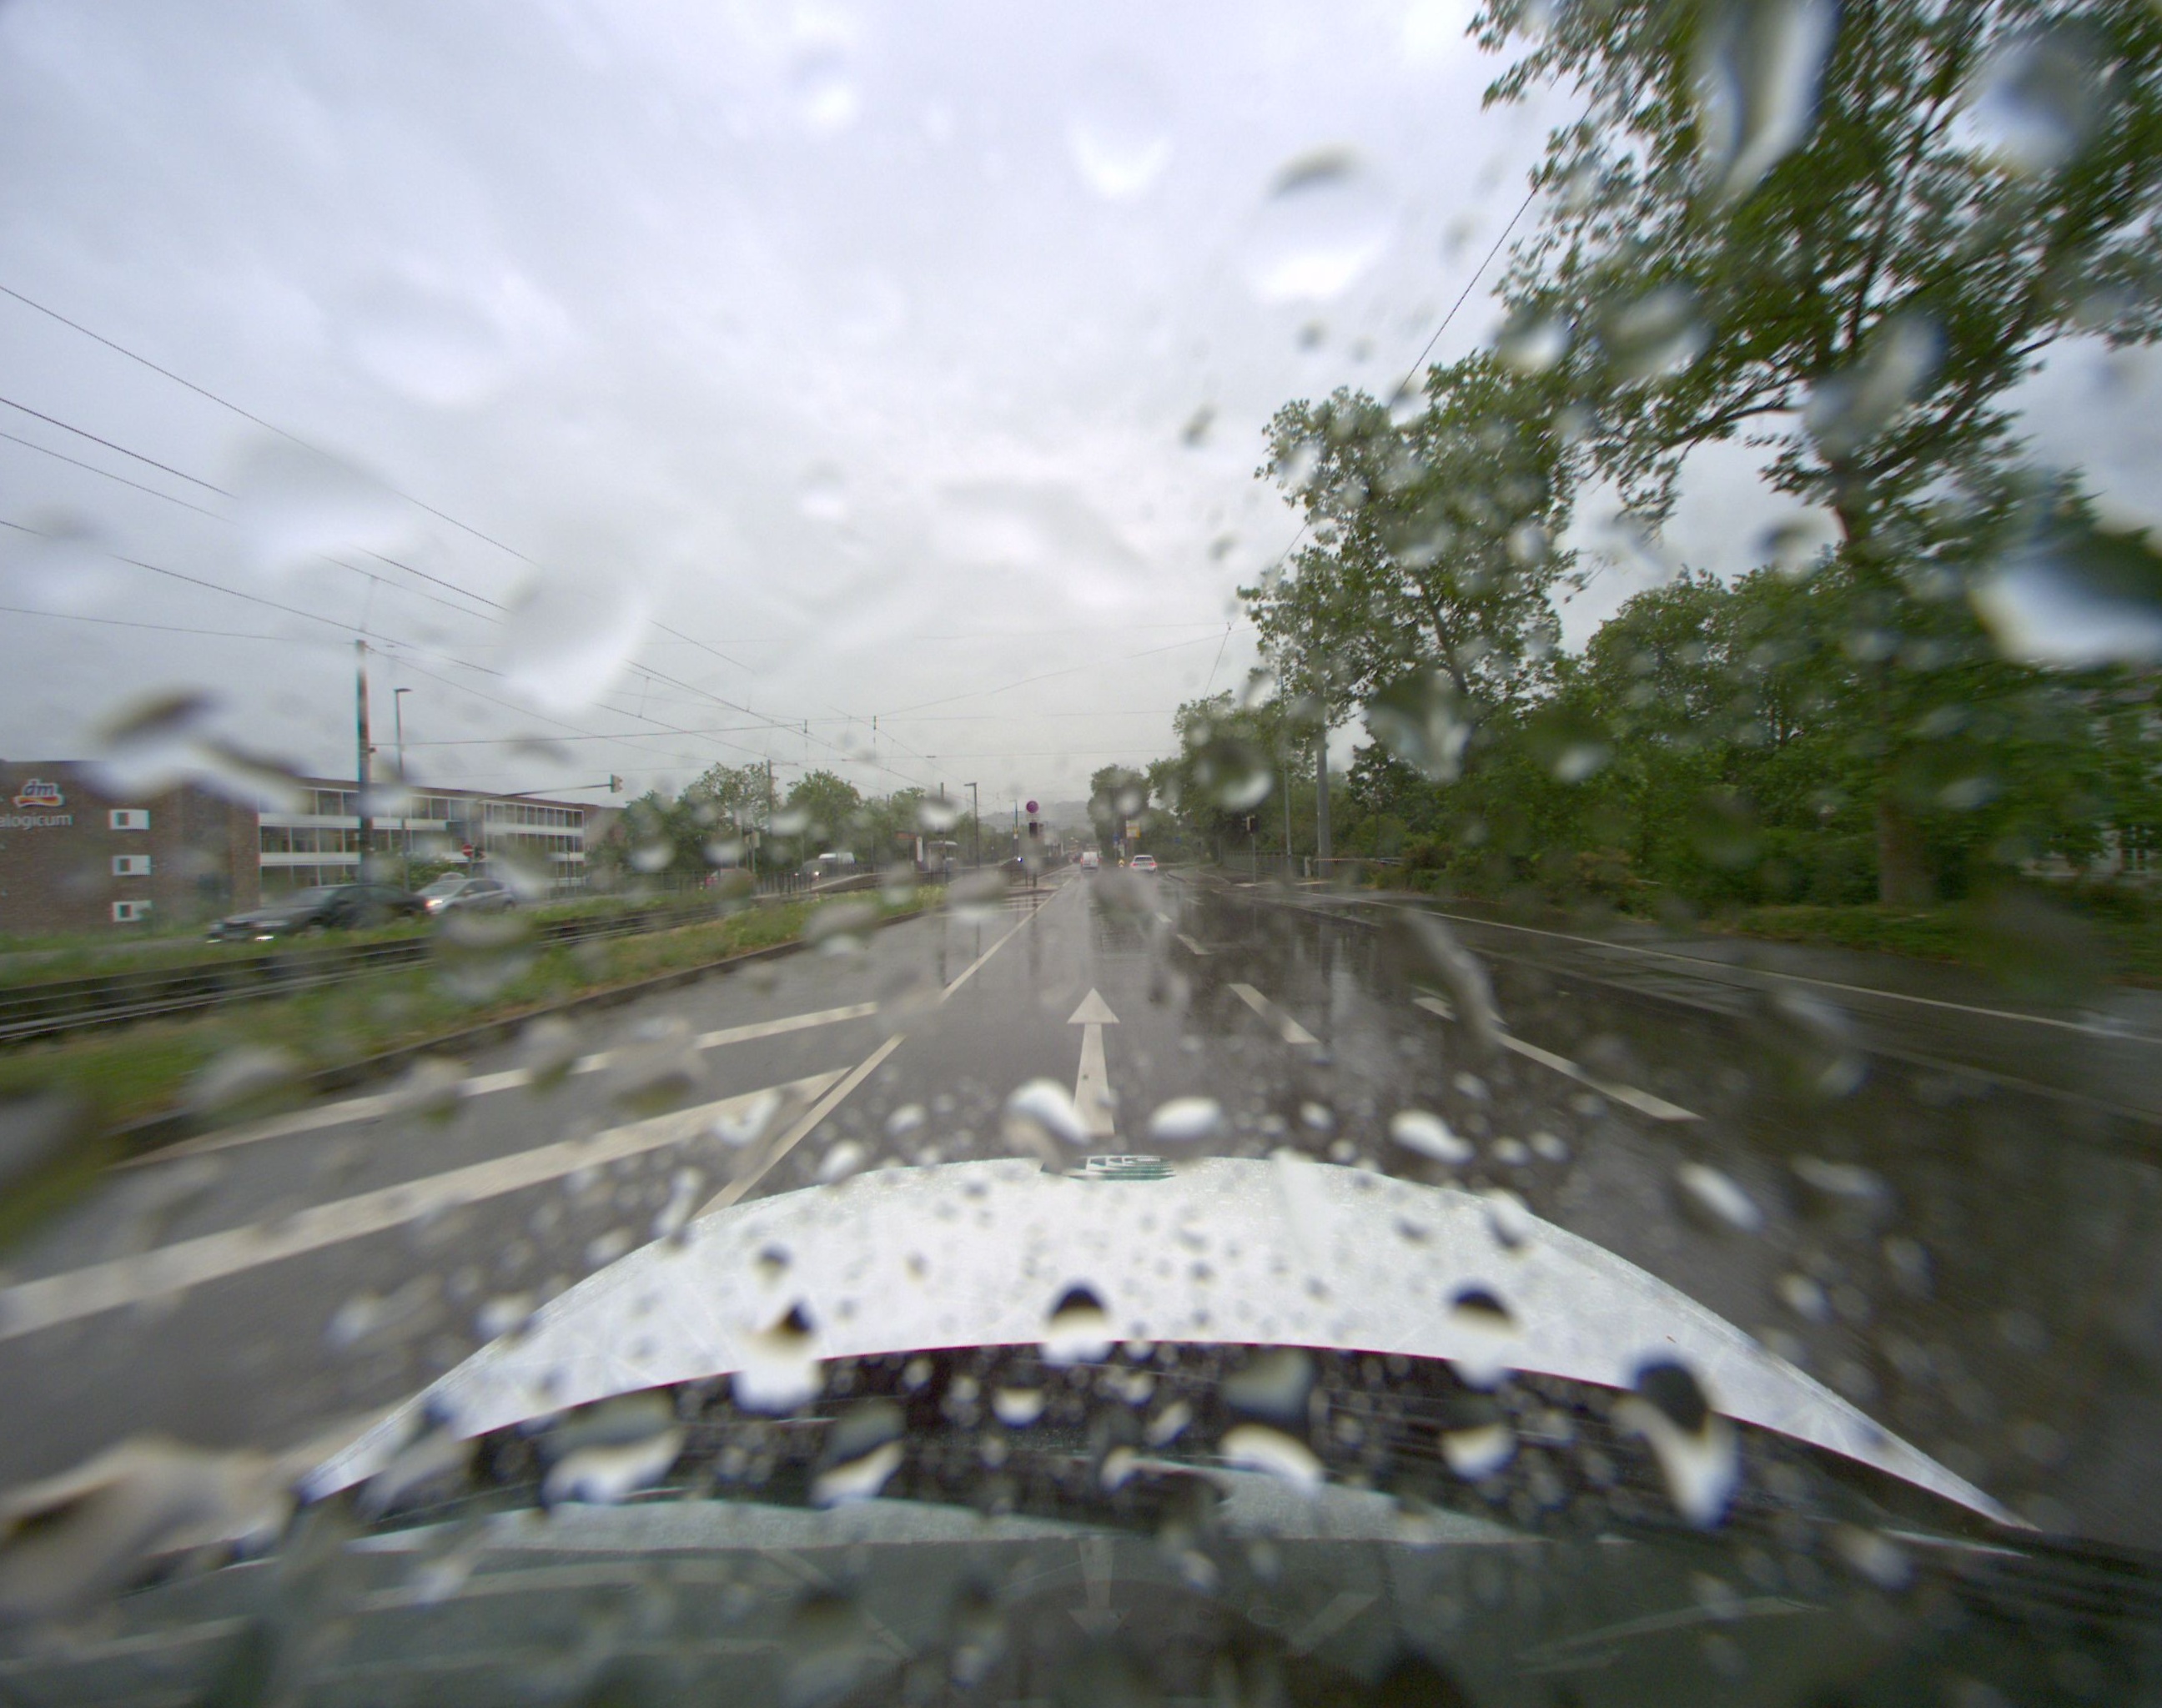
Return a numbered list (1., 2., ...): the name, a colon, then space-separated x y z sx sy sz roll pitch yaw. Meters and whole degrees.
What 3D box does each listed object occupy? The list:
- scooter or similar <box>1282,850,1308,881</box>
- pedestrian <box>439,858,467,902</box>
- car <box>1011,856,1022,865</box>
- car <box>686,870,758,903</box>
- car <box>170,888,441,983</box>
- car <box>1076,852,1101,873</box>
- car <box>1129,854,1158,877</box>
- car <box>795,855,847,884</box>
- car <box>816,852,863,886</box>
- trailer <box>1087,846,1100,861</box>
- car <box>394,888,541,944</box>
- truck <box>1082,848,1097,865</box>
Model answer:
1. scooter or similar: 9.268 0.501 35.321 0.756 1.293 1.648 -1 -1 4
2. pedestrian: -29.364 1.226 38.093 0.696 2.013 0.697 -1 0 1
3. car: -15.210 1.548 192.098 1.986 2.014 4.001 -1 0 1
4. car: -20.870 1.833 47.571 1.986 1.707 4.626 -1 0 1
5. car: -17.962 1.795 19.246 1.986 1.596 4.382 -5 0 1
6. car: 0.678 0.761 76.520 1.990 1.849 3.994 -2 0 -5
7. car: 4.256 0.755 55.928 1.880 1.431 4.004 -2 0 4
8. car: -17.115 0.979 53.844 1.986 1.772 4.259 -1 0 1
9. car: -20.380 1.218 68.899 2.112 2.712 5.740 -1 0 1
10. trailer: 2.489 -0.065 160.614 2.157 2.757 5.680 -1 0 3
11. car: -21.634 2.142 28.940 1.986 1.596 4.095 -2 0 1
12. truck: 2.020 0.636 191.896 2.769 3.704 9.841 -1 0 -3
